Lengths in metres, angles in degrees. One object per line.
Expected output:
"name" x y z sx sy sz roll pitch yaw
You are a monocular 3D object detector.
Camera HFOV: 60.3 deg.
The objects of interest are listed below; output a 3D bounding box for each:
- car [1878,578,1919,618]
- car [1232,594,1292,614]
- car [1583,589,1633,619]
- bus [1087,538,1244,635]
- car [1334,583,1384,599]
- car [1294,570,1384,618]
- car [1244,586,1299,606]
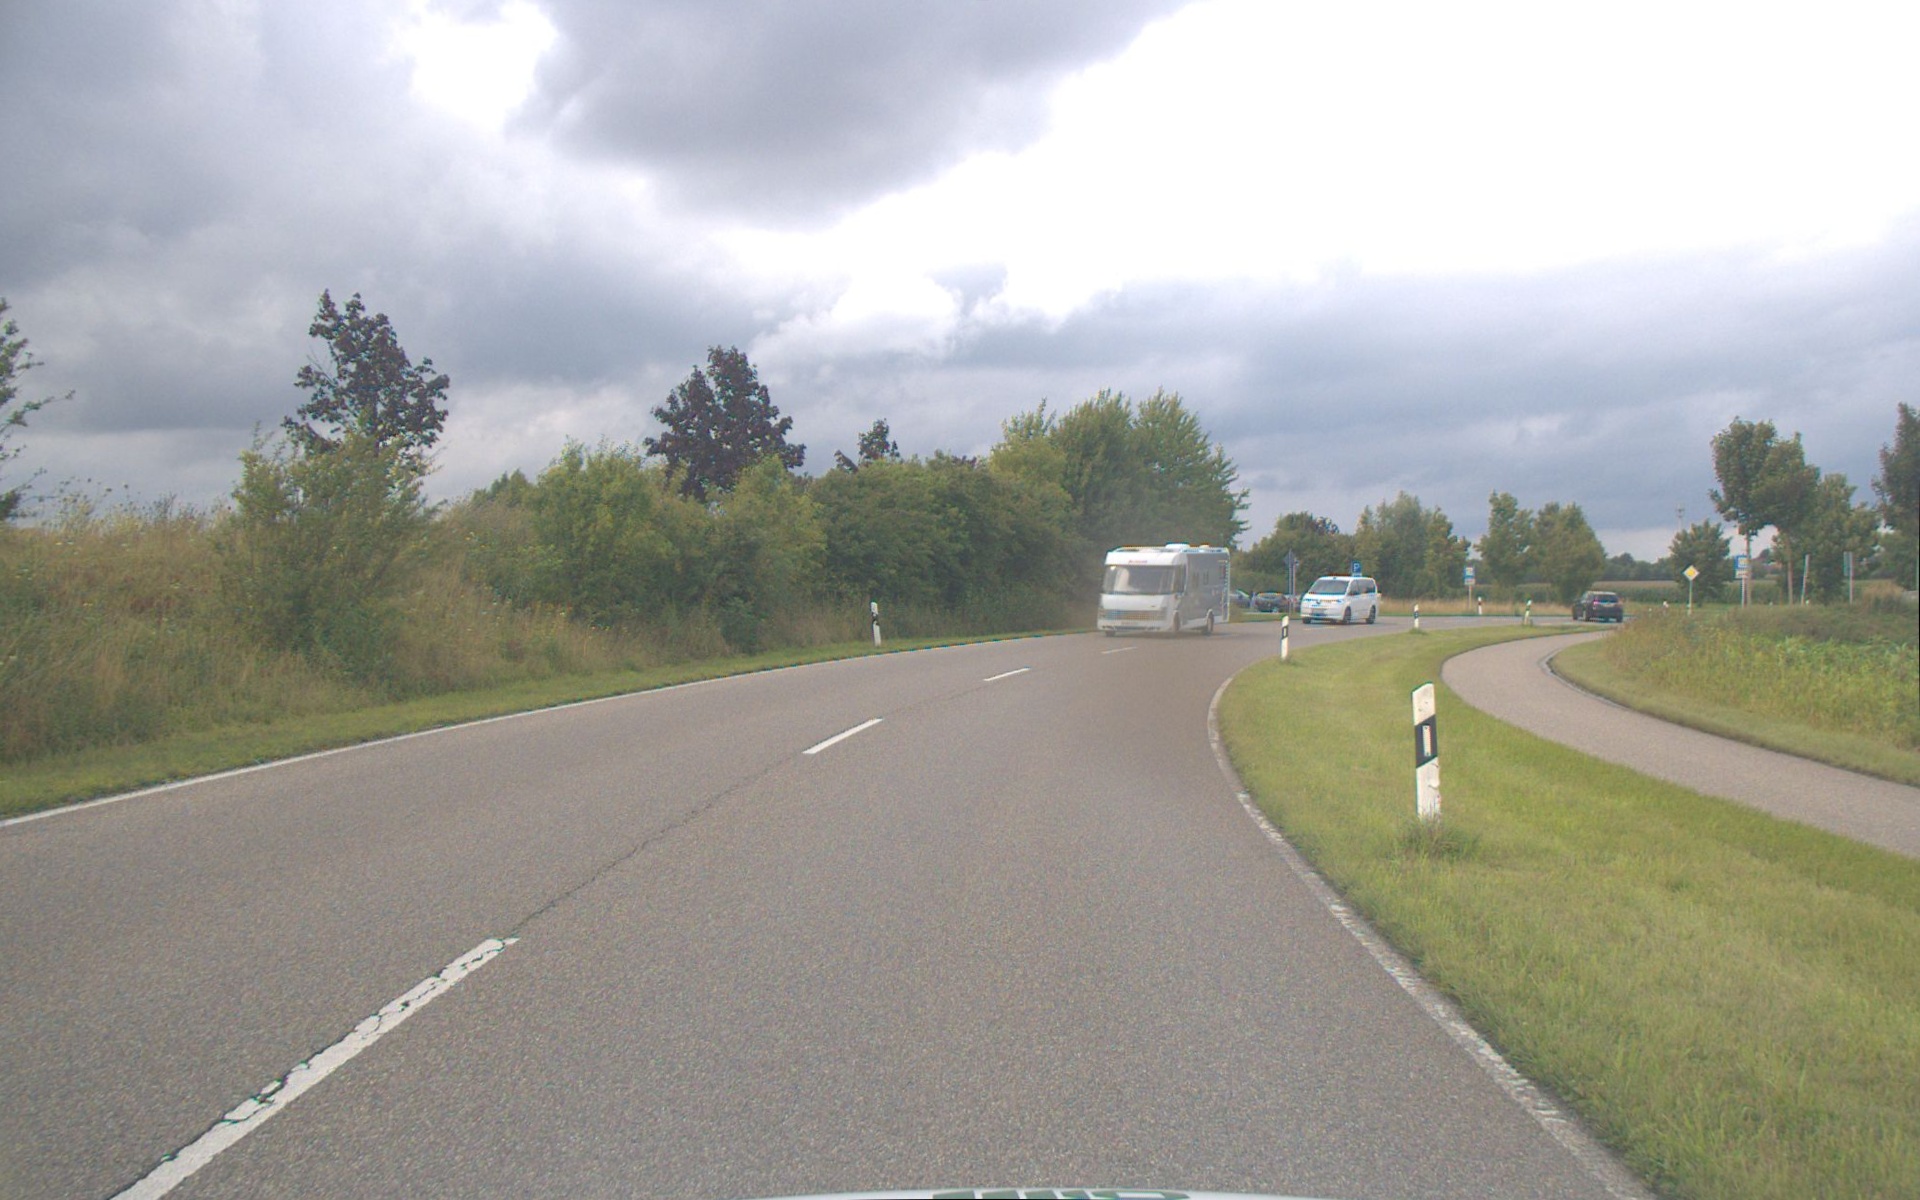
"car" 49.469 -0.094 83.807 4.870 2.008 1.945 0 0 40
"car" 21.710 0.306 118.921 3.911 1.404 1.821 0 0 29
"car" 32.366 0.195 82.702 1.802 1.442 4.003 0 0 14
"bus" 6.572 -0.414 51.595 2.426 2.758 8.425 0 0 25
"car" 33.947 -0.764 140.766 3.906 1.404 1.475 0 0 23
"car" 15.744 -0.249 68.478 2.075 1.901 5.174 0 0 32
"car" 23.173 -0.305 123.035 3.903 1.404 1.477 0 0 17
